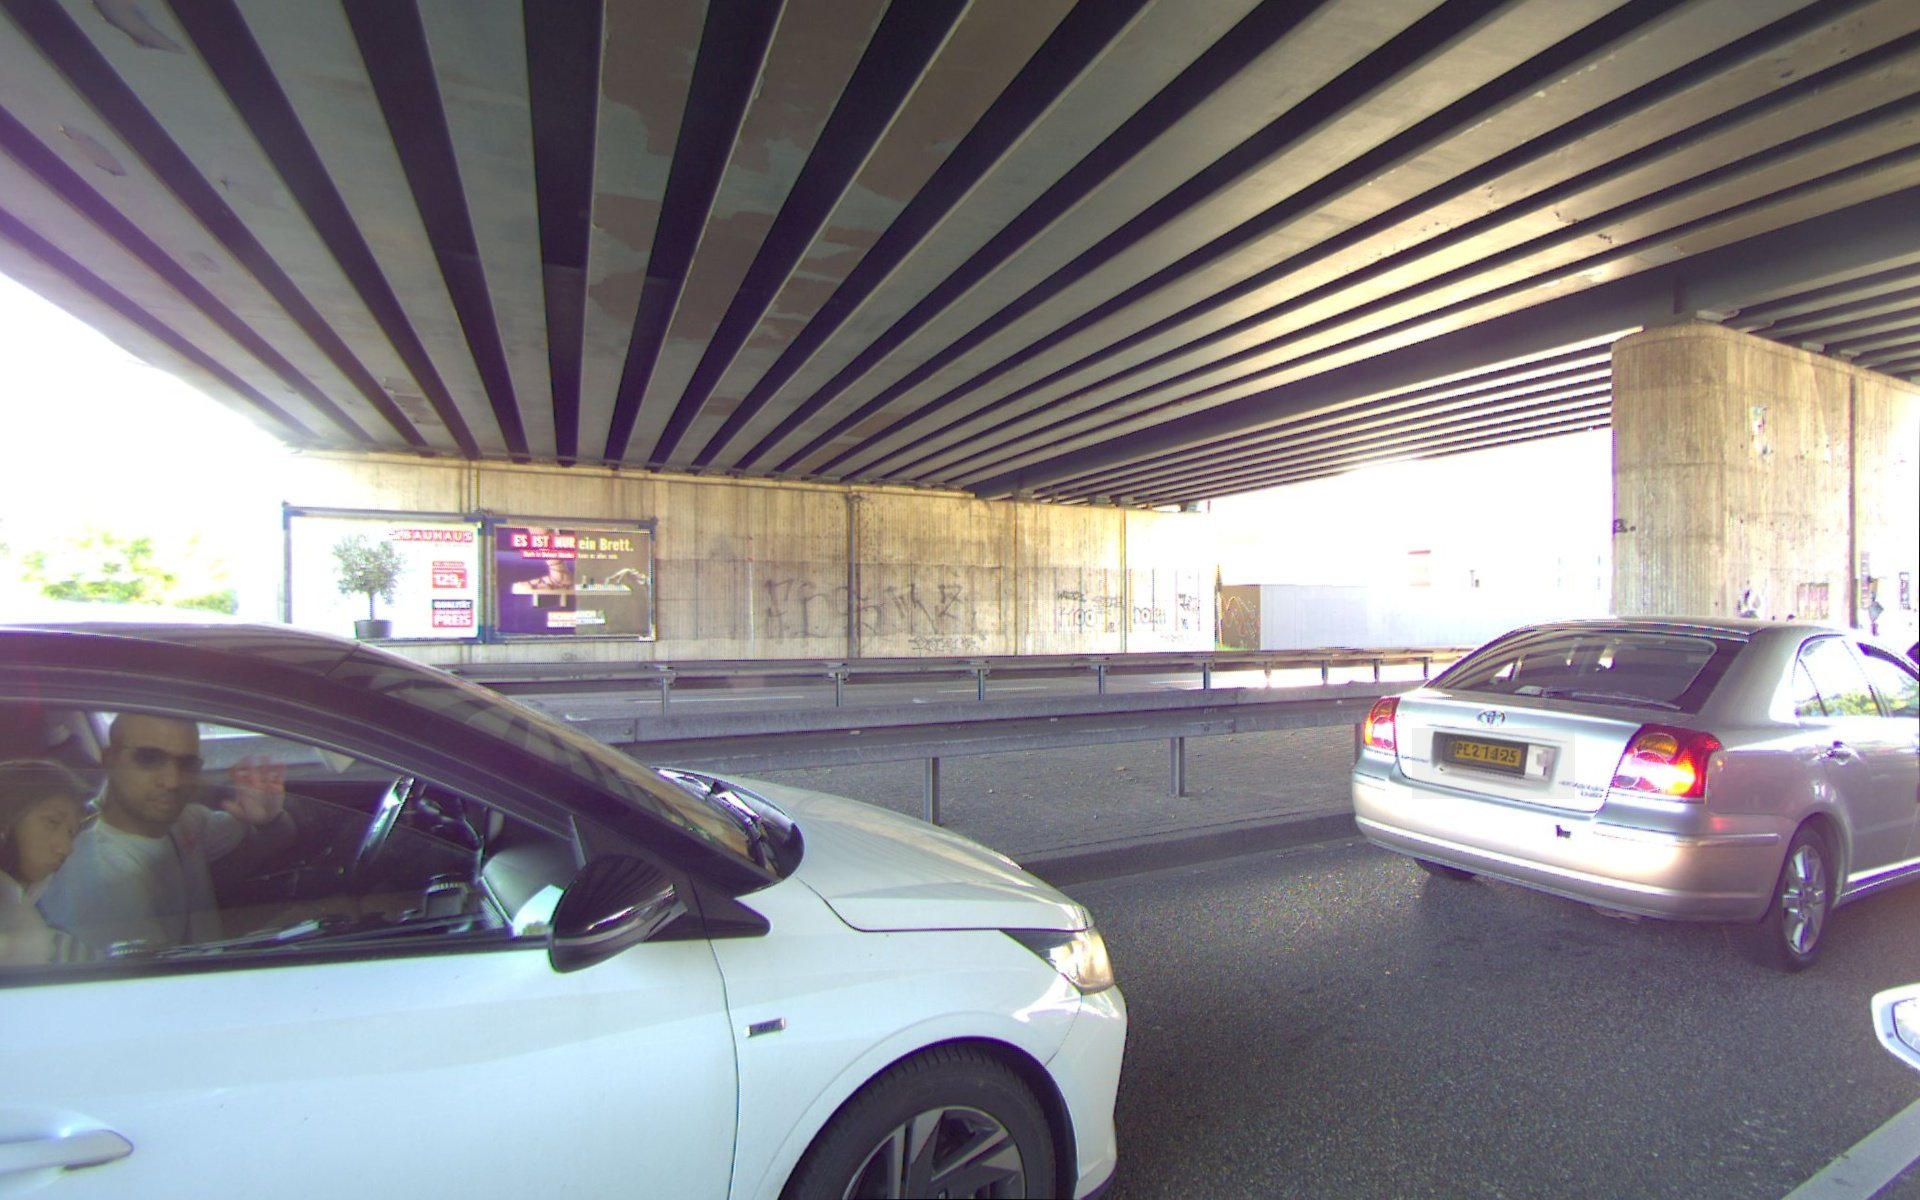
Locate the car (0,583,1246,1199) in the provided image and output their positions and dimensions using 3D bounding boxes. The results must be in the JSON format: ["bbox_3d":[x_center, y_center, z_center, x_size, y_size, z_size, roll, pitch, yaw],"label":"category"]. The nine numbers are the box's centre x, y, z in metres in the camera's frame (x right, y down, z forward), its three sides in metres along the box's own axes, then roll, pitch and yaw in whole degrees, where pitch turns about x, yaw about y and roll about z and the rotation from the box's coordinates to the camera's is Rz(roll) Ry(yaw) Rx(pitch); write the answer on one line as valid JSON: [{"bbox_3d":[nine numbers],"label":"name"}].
[{"bbox_3d":[-1.448,0.705,1.972,3.828,1.423,1.723,2,1,-32],"label":"car"}]

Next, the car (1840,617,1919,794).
[{"bbox_3d":[9.635,0.906,8.863,3.768,1.429,1.684,1,0,-30],"label":"car"}]

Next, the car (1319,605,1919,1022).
[{"bbox_3d":[4.109,0.811,5.463,4.347,1.474,1.688,1,0,-31],"label":"car"}]
